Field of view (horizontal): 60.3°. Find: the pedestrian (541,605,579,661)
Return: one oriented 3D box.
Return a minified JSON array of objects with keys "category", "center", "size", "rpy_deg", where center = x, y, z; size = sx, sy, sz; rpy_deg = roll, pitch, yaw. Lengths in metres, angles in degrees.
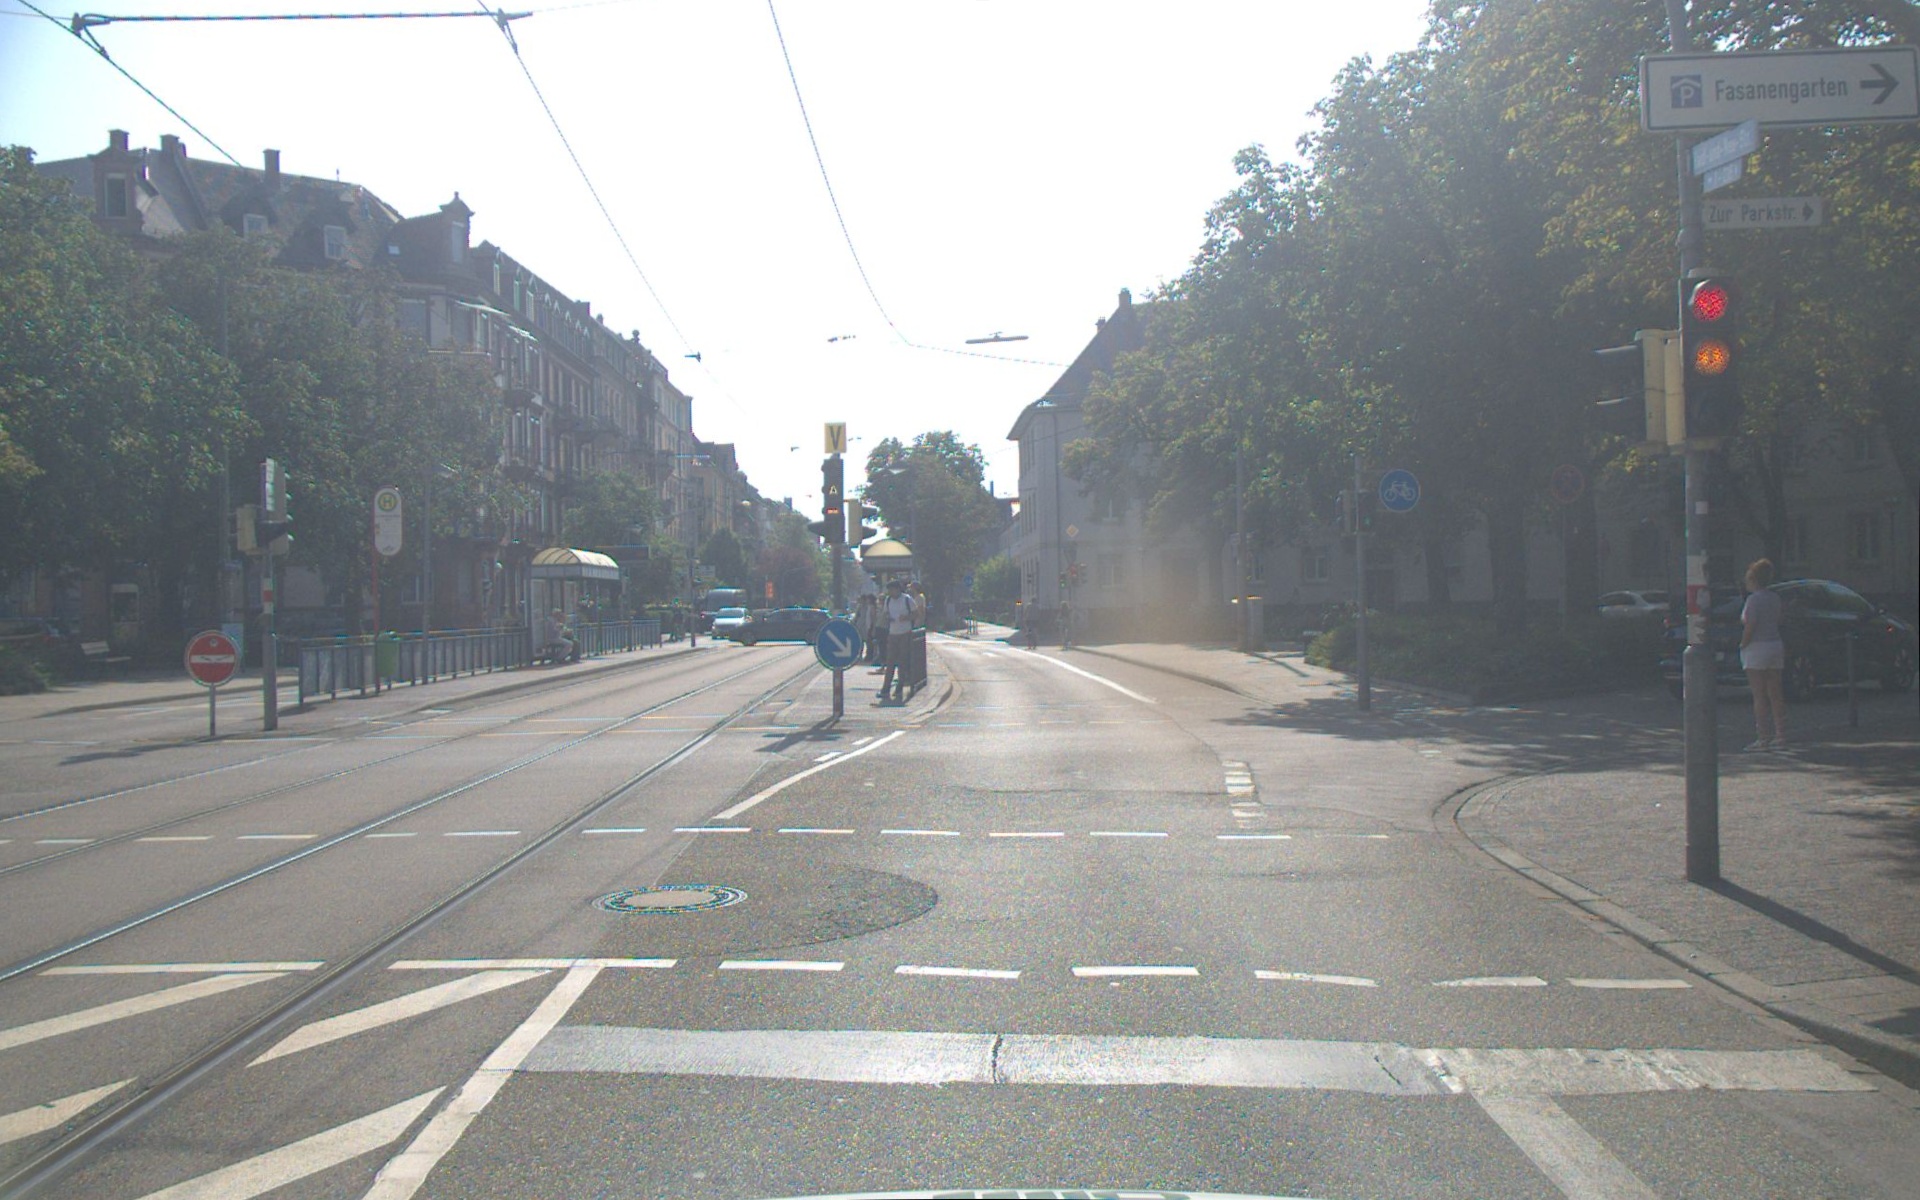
[{"category":"pedestrian","center":[-10.122,0.837,41.892],"size":[0.812,1.382,0.775],"rpy_deg":[-1,0,-6]}]

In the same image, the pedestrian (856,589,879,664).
[{"category":"pedestrian","center":[-2.273,0.650,40.666],"size":[0.521,1.790,0.545],"rpy_deg":[1,2,0]}]

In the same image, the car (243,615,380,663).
[{"category":"car","center":[-23.800,1.407,60.777],"size":[4.302,1.596,1.968],"rpy_deg":[-1,0,-44]}]

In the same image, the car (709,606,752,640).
[{"category":"car","center":[-11.918,1.194,86.044],"size":[1.765,1.682,3.642],"rpy_deg":[-1,0,-1]}]

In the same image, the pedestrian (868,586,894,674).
[{"category":"pedestrian","center":[-1.642,0.618,34.445],"size":[0.494,1.790,0.534],"rpy_deg":[1,2,-1]}]

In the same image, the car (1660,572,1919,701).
[{"category":"car","center":[11.543,0.439,22.752],"size":[4.180,1.541,1.592],"rpy_deg":[-2,1,-36]}]

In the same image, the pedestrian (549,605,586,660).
[{"category":"pedestrian","center":[-10.170,0.843,42.868],"size":[0.812,1.382,0.775],"rpy_deg":[-1,0,-6]}]

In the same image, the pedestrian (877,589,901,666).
[{"category":"pedestrian","center":[-1.689,0.640,39.261],"size":[0.532,1.790,0.534],"rpy_deg":[1,2,-1]}]

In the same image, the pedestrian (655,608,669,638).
[{"category":"pedestrian","center":[-17.431,1.346,96.726],"size":[0.736,1.761,0.769],"rpy_deg":[-1,0,-10]}]

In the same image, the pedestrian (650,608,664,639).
[{"category":"pedestrian","center":[-17.172,1.337,93.807],"size":[0.736,1.761,0.769],"rpy_deg":[-1,0,-10]}]

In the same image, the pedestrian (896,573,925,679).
[{"category":"pedestrian","center":[-0.888,0.466,29.761],"size":[0.494,1.866,0.534],"rpy_deg":[1,2,-1]}]

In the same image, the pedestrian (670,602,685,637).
[{"category":"pedestrian","center":[-14.510,0.978,84.953],"size":[0.736,1.761,0.769],"rpy_deg":[-1,0,-10]}]

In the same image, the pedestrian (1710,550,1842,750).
[{"category":"pedestrian","center":[7.460,0.445,15.145],"size":[0.736,1.761,0.769],"rpy_deg":[-1,0,-10]}]

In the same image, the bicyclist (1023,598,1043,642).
[{"category":"bicyclist","center":[2.598,0.712,58.672],"size":[0.616,1.534,0.678],"rpy_deg":[-1,0,-3]}]

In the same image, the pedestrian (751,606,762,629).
[{"category":"pedestrian","center":[-16.103,1.400,130.765],"size":[0.736,1.761,0.769],"rpy_deg":[-1,0,-10]}]

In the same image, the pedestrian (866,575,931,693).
[{"category":"pedestrian","center":[-0.946,0.502,25.493],"size":[0.687,1.755,0.746],"rpy_deg":[2,2,31]}]

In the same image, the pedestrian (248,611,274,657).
[{"category":"pedestrian","center":[-27.522,1.329,65.113],"size":[0.764,1.761,0.741],"rpy_deg":[-1,-1,-40]}]

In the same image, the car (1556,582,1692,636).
[{"category":"car","center":[19.272,0.265,48.193],"size":[1.721,1.453,4.135],"rpy_deg":[-2,0,-10]}]

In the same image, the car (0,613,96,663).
[{"category":"car","center":[-32.072,1.294,56.279],"size":[4.237,1.596,1.998],"rpy_deg":[-1,0,-4]}]

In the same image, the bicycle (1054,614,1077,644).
[{"category":"bicycle","center":[3.606,0.991,56.819],"size":[0.547,0.995,1.855],"rpy_deg":[-2,0,-3]}]

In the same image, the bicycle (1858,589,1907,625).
[{"category":"bicycle","center":[26.265,0.193,47.127],"size":[0.416,0.995,1.554],"rpy_deg":[-1,0,-4]}]

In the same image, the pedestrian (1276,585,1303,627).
[{"category":"pedestrian","center":[14.100,0.238,70.720],"size":[0.875,1.771,0.774],"rpy_deg":[-2,0,31]}]

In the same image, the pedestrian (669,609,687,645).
[{"category":"pedestrian","center":[-14.107,1.357,82.653],"size":[0.734,1.761,0.771],"rpy_deg":[-1,0,1]}]

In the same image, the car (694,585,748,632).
[{"category":"car","center":[-14.583,0.506,101.202],"size":[2.298,2.708,5.106],"rpy_deg":[-1,0,2]}]

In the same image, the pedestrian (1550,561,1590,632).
[{"category":"pedestrian","center":[15.434,-0.093,41.849],"size":[0.872,1.771,0.776],"rpy_deg":[-1,0,18]}]

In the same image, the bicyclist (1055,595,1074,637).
[{"category":"bicyclist","center":[3.588,0.550,56.835],"size":[0.547,1.441,0.871],"rpy_deg":[-1,0,-3]}]

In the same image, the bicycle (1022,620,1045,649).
[{"category":"bicycle","center":[2.604,1.212,58.672],"size":[0.616,0.995,1.769],"rpy_deg":[-2,0,-3]}]

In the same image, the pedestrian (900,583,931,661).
[{"category":"pedestrian","center":[-1.035,0.510,38.657],"size":[0.694,1.790,0.534],"rpy_deg":[1,2,-2]}]

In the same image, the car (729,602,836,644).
[{"category":"car","center":[-7.302,0.944,68.343],"size":[4.235,1.596,1.999],"rpy_deg":[-1,0,-2]}]

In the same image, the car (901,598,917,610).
[{"category":"car","center":[-7.882,0.598,257.235],"size":[1.951,1.814,4.002],"rpy_deg":[0,0,5]}]
